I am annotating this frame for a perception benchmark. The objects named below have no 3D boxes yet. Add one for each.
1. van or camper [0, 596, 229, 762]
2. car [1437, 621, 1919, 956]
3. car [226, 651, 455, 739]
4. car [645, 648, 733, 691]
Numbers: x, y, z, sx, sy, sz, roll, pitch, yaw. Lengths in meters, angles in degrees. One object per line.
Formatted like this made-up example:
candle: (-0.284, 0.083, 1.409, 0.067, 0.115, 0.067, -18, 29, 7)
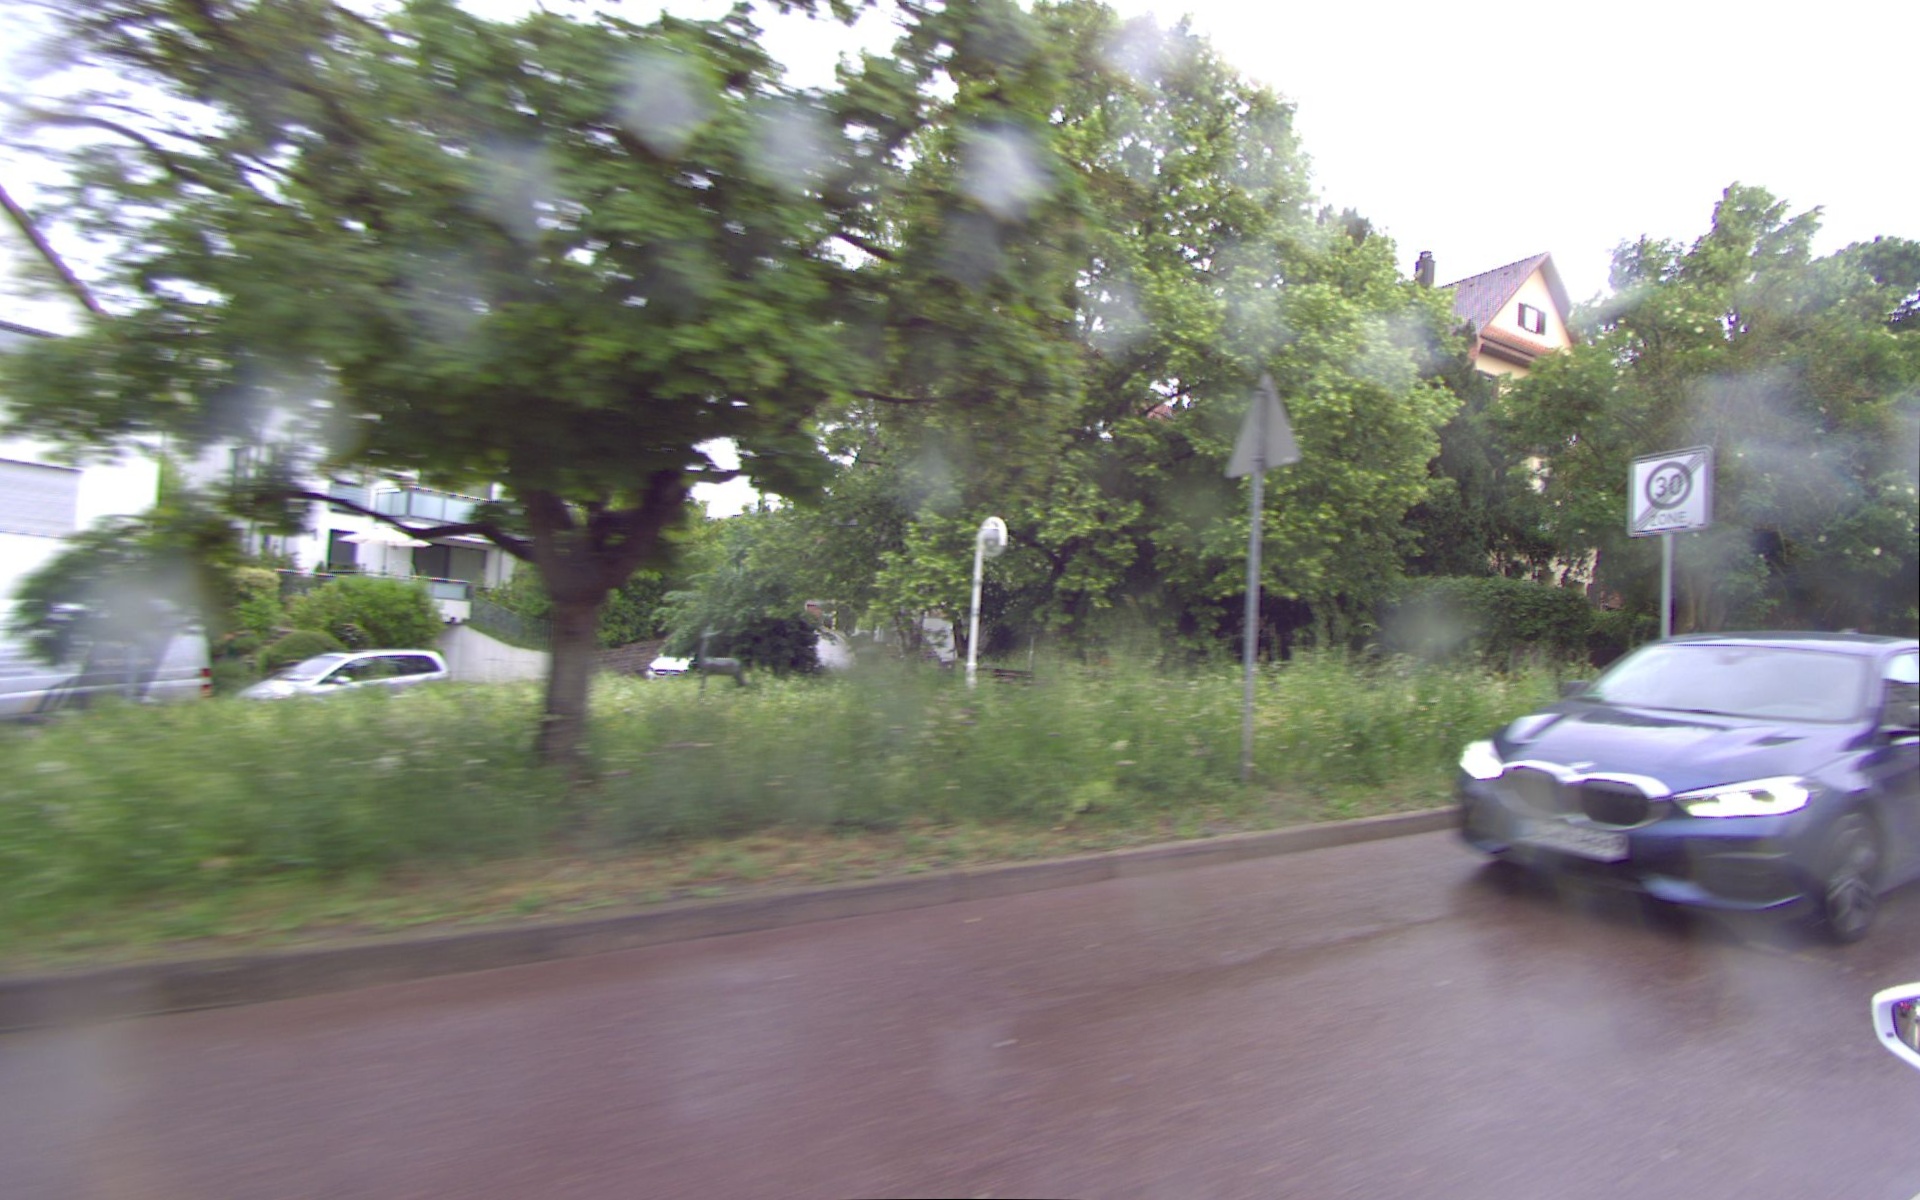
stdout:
van or camper: (-15.865, 1.254, 16.515, 1.612, 2.591, 6.055, 2, 0, 29)
car: (4.864, 0.881, 6.094, 3.799, 1.448, 1.711, 1, -1, -30)
car: (-13.249, 1.961, 21.760, 1.531, 1.569, 4.036, 1, -1, 25)
car: (-9.446, 2.409, 35.279, 1.687, 1.270, 3.977, 1, -1, 5)
